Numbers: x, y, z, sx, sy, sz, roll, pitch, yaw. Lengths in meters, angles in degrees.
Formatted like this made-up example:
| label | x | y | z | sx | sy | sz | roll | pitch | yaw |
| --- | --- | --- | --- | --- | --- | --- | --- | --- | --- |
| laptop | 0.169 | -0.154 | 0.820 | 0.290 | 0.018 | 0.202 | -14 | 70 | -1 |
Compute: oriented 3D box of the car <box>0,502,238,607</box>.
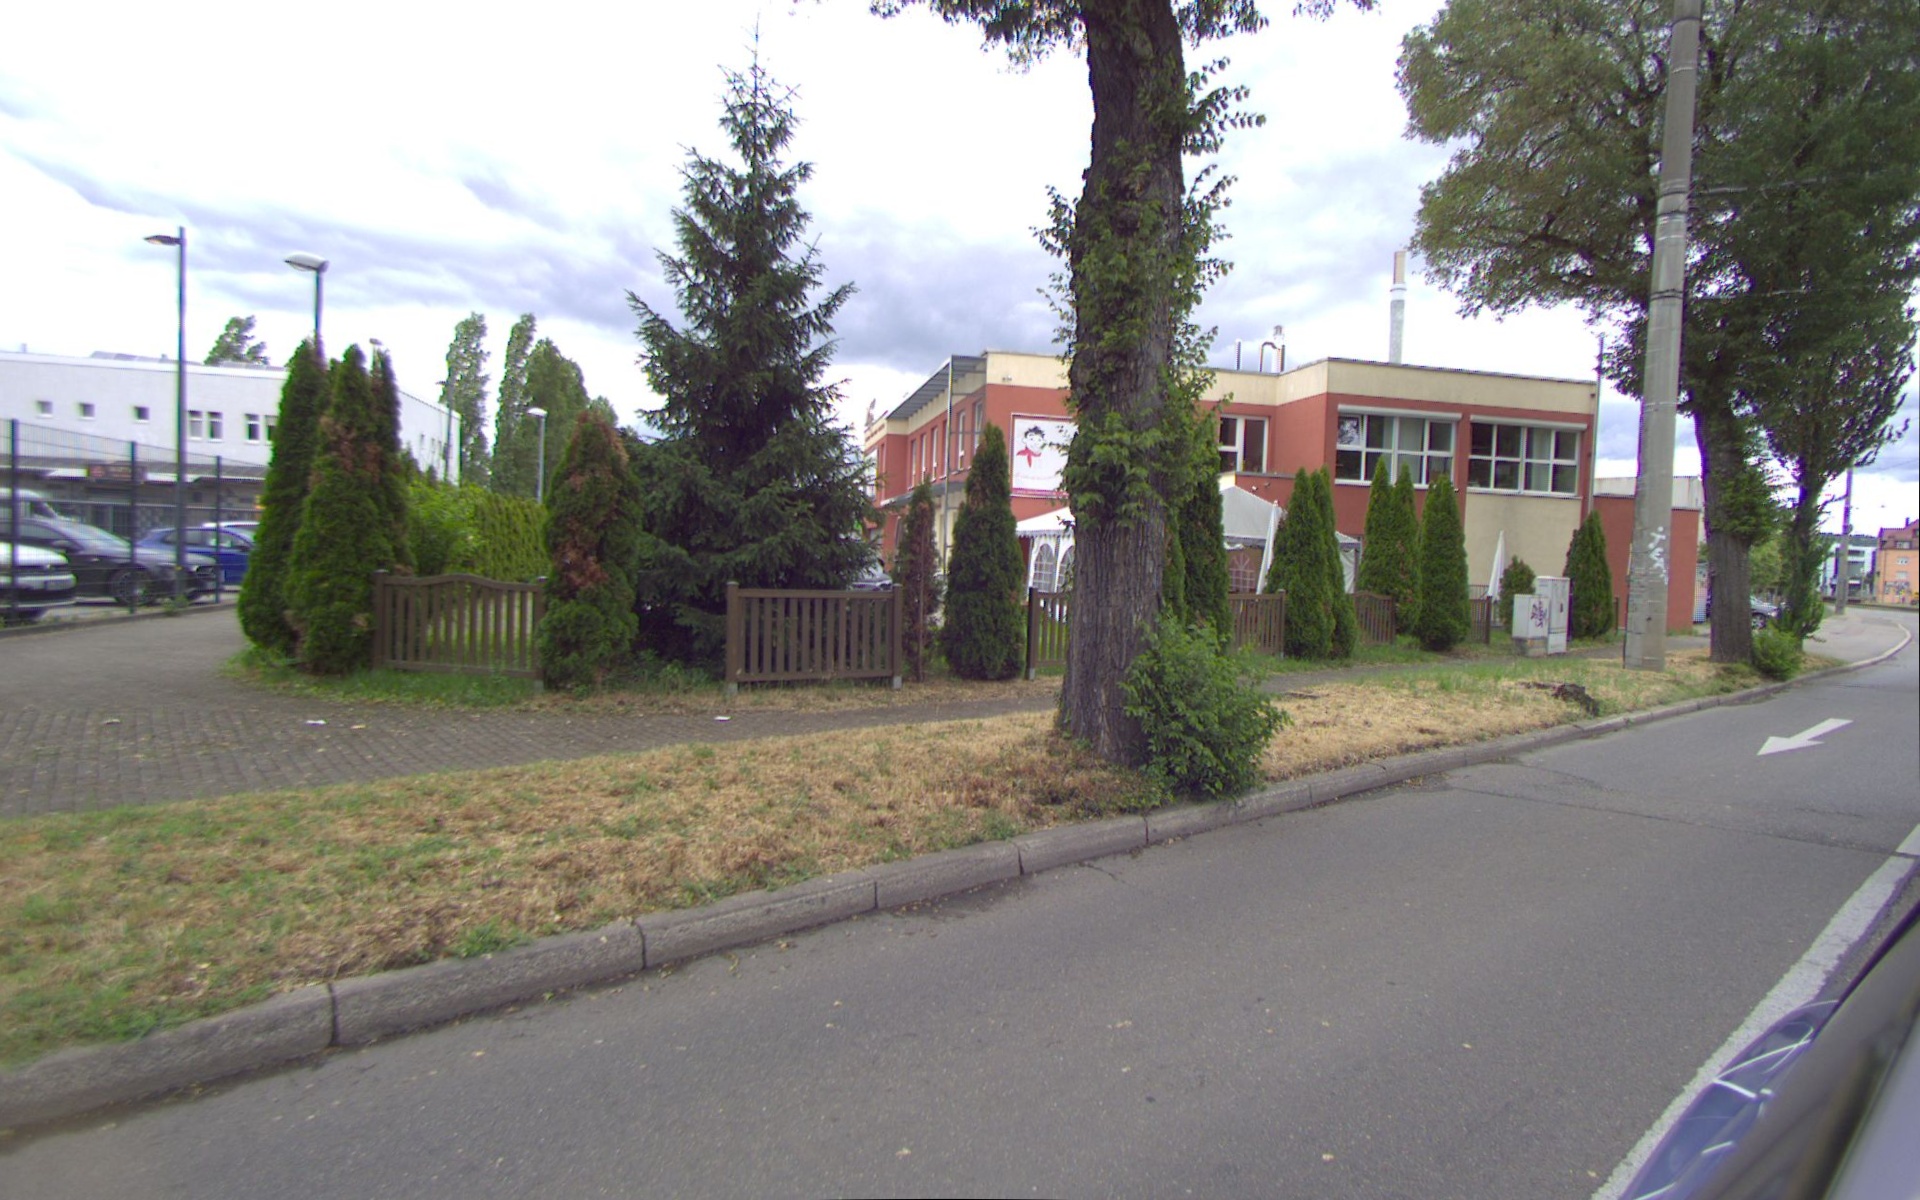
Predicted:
| label | x | y | z | sx | sy | sz | roll | pitch | yaw |
| --- | --- | --- | --- | --- | --- | --- | --- | --- | --- |
| car | -15.564 | -0.807 | 17.656 | 4.407 | 1.686 | 2.005 | 1 | 2 | -14 |

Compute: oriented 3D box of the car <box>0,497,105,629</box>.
| label | x | y | z | sx | sy | sz | roll | pitch | yaw |
| --- | --- | --- | --- | --- | --- | --- | --- | --- | --- |
| car | -14.439 | -0.556 | 13.350 | 4.407 | 1.686 | 2.005 | 1 | 2 | -14 |

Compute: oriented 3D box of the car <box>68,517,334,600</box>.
| label | x | y | z | sx | sy | sz | roll | pitch | yaw |
| --- | --- | --- | --- | --- | --- | --- | --- | --- | --- |
| car | -17.026 | -0.922 | 22.962 | 4.407 | 1.686 | 2.005 | 1 | 2 | -14 |

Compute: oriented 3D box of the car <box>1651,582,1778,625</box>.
| label | x | y | z | sx | sy | sz | roll | pitch | yaw |
| --- | --- | --- | --- | --- | --- | --- | --- | --- | --- |
| car | 30.848 | 0.108 | 41.440 | 3.986 | 1.666 | 1.867 | 0 | 0 | 43 |

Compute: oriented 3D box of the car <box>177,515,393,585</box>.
| label | x | y | z | sx | sy | sz | roll | pitch | yaw |
| --- | --- | --- | --- | --- | --- | --- | --- | --- | --- |
| car | -17.983 | -1.319 | 27.196 | 4.407 | 1.686 | 2.005 | 1 | 2 | -14 |

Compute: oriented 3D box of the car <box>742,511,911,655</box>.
| label | x | y | z | sx | sy | sz | roll | pitch | yaw |
| --- | --- | --- | --- | --- | --- | --- | --- | --- | --- |
| car | -2.308 | -0.264 | 16.475 | 1.958 | 2.039 | 4.008 | 0 | 0 | -19 |

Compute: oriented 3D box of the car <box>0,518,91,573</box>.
| label | x | y | z | sx | sy | sz | roll | pitch | yaw |
| --- | --- | --- | --- | --- | --- | --- | --- | --- | --- |
| car | -30.712 | -1.722 | 32.225 | 4.181 | 1.670 | 2.004 | 0 | 0 | -17 |
